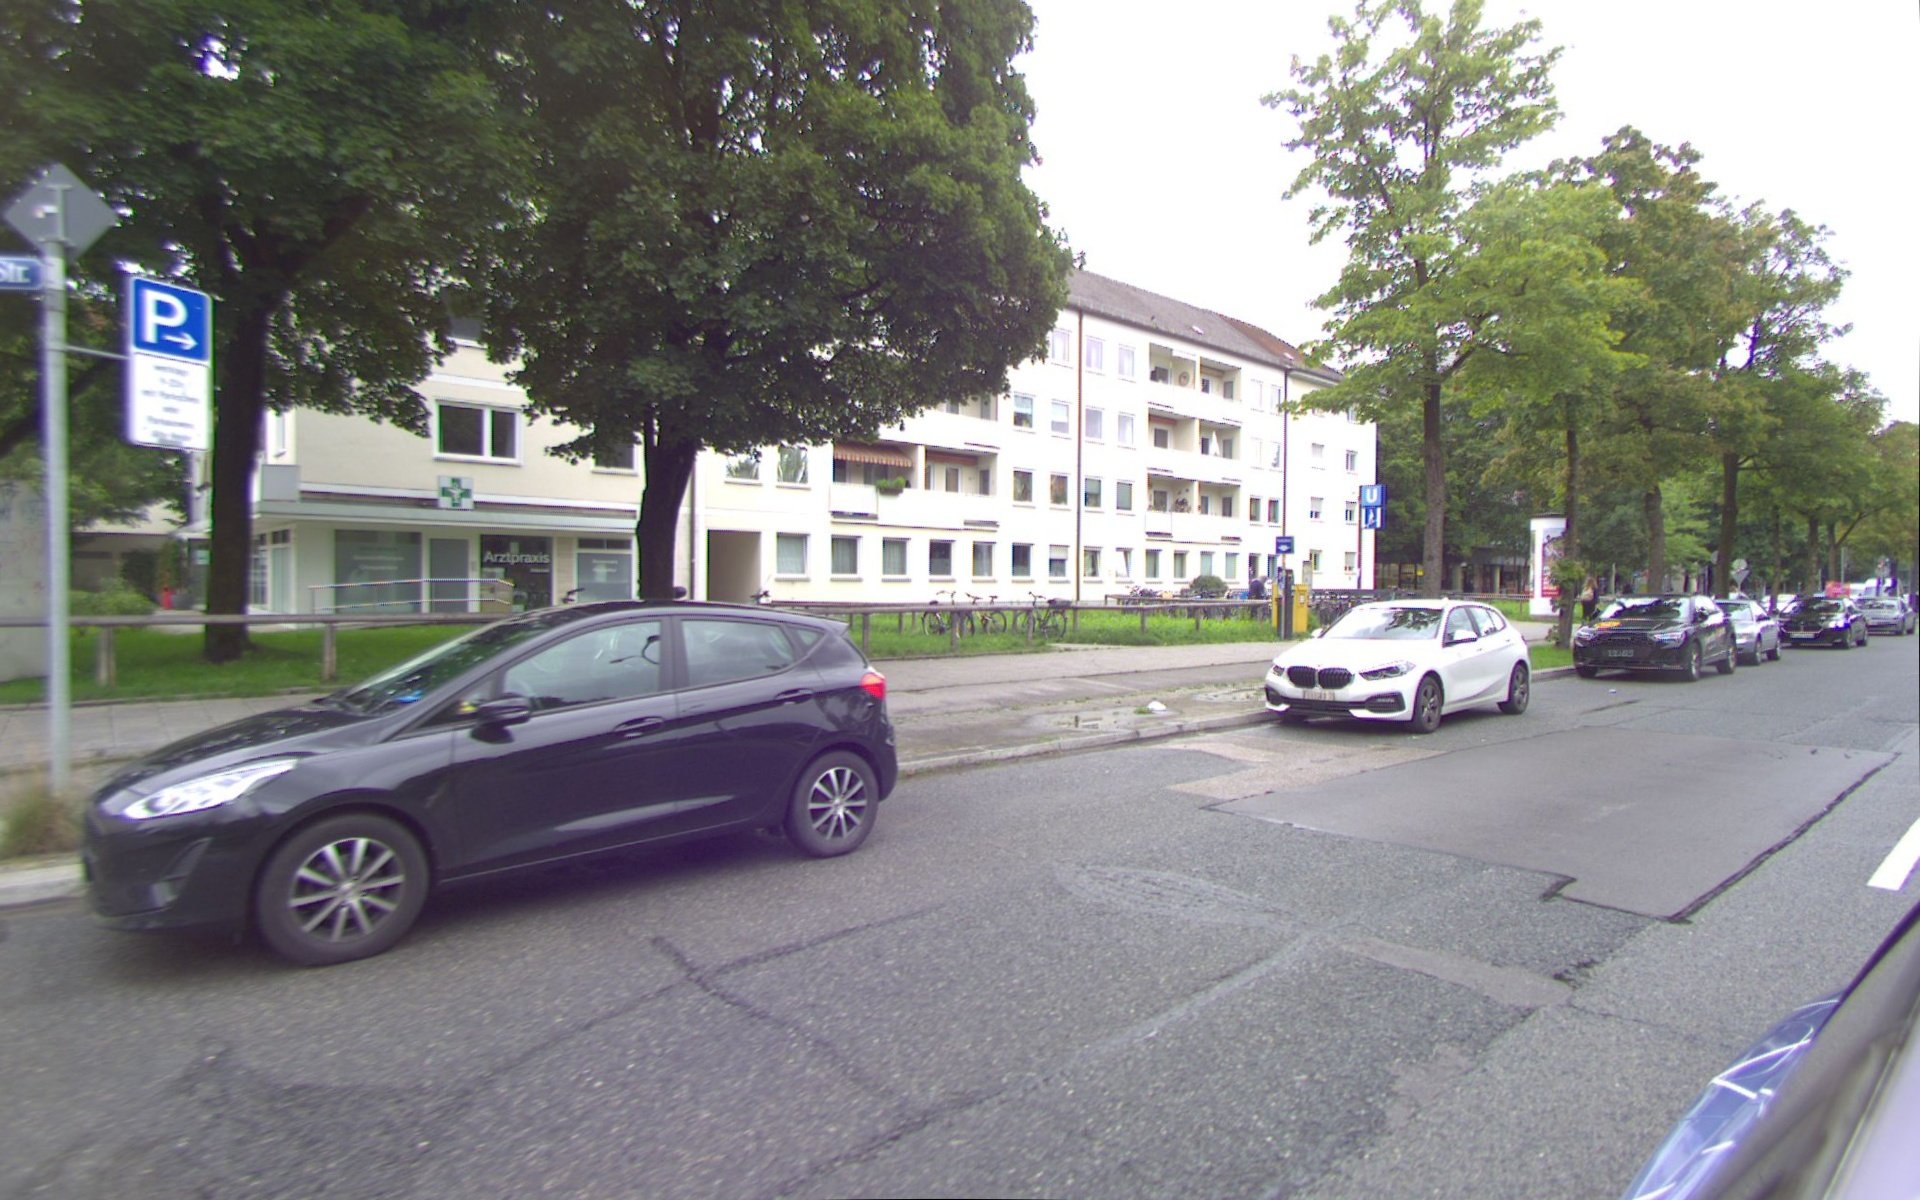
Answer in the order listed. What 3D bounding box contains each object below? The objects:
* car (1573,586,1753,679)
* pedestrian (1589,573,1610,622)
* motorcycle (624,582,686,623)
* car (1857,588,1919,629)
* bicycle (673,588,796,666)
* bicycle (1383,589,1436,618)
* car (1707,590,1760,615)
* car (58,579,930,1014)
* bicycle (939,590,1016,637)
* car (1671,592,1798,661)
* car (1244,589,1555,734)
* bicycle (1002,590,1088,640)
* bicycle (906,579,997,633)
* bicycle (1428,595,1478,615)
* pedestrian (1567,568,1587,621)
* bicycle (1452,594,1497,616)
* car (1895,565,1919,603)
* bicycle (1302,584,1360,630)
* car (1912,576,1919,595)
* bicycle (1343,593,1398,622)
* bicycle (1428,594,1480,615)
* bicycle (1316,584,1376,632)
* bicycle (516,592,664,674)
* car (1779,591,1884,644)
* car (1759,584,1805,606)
[{"bbox_3d":[13.082,0.506,18.752,4.085,1.530,1.824,-1,1,-41],"label":"car"},{"bbox_3d":[21.495,-0.094,34.000,0.555,1.625,0.515,1,0,30],"label":"pedestrian"},{"bbox_3d":[-8.732,0.068,29.021,1.593,1.134,0.606,0,1,-40],"label":"motorcycle"},{"bbox_3d":[35.461,0.285,38.226,4.225,1.487,1.825,-1,1,-41],"label":"car"},{"bbox_3d":[-3.266,0.365,14.755,1.738,1.068,0.470,-1,0,-42],"label":"bicycle"},{"bbox_3d":[15.387,0.104,34.659,0.490,0.927,1.596,0,2,-45],"label":"bicycle"},{"bbox_3d":[48.645,0.150,63.629,4.225,1.487,1.825,-1,1,-41],"label":"car"},{"bbox_3d":[-2.175,0.668,5.394,3.887,1.496,1.647,0,0,-41],"label":"car"},{"bbox_3d":[0.411,0.309,24.888,0.653,1.081,2.027,0,1,-45],"label":"bicycle"},{"bbox_3d":[17.325,0.523,22.584,3.860,1.397,1.615,-1,1,-42],"label":"car"},{"bbox_3d":[5.459,0.620,12.343,4.212,1.455,1.824,-1,-1,-41],"label":"car"},{"bbox_3d":[1.927,0.316,23.114,0.653,1.081,2.027,0,1,-45],"label":"bicycle"},{"bbox_3d":[-0.200,0.098,20.996,0.653,1.081,2.027,0,1,-45],"label":"bicycle"},{"bbox_3d":[18.304,0.188,37.589,0.490,0.704,1.595,-1,1,-45],"label":"bicycle"},{"bbox_3d":[20.943,-0.202,34.363,0.555,1.777,0.651,1,1,30],"label":"pedestrian"},{"bbox_3d":[19.119,0.166,37.630,0.490,0.722,1.389,0,3,-45],"label":"bicycle"},{"bbox_3d":[64.802,-1.100,68.258,4.912,2.485,1.997,-1,1,-40],"label":"car"},{"bbox_3d":[10.083,0.174,27.491,2.039,1.203,0.545,0,1,-40],"label":"bicycle"},{"bbox_3d":[129.039,-1.935,135.396,4.915,2.485,1.996,-1,1,-42],"label":"car"},{"bbox_3d":[13.376,0.231,32.980,0.490,0.927,1.595,0,1,-45],"label":"bicycle"},{"bbox_3d":[18.008,0.168,36.918,0.490,0.645,1.596,0,4,-44],"label":"bicycle"},{"bbox_3d":[10.032,0.191,26.240,2.039,1.203,0.545,0,1,-40],"label":"bicycle"},{"bbox_3d":[-4.899,0.407,13.493,1.820,1.028,0.448,0,1,-40],"label":"bicycle"},{"bbox_3d":[25.114,0.446,29.123,4.227,1.397,1.825,-1,1,-42],"label":"car"},{"bbox_3d":[59.323,-0.385,73.002,4.225,1.486,1.826,-1,1,-41],"label":"car"}]
